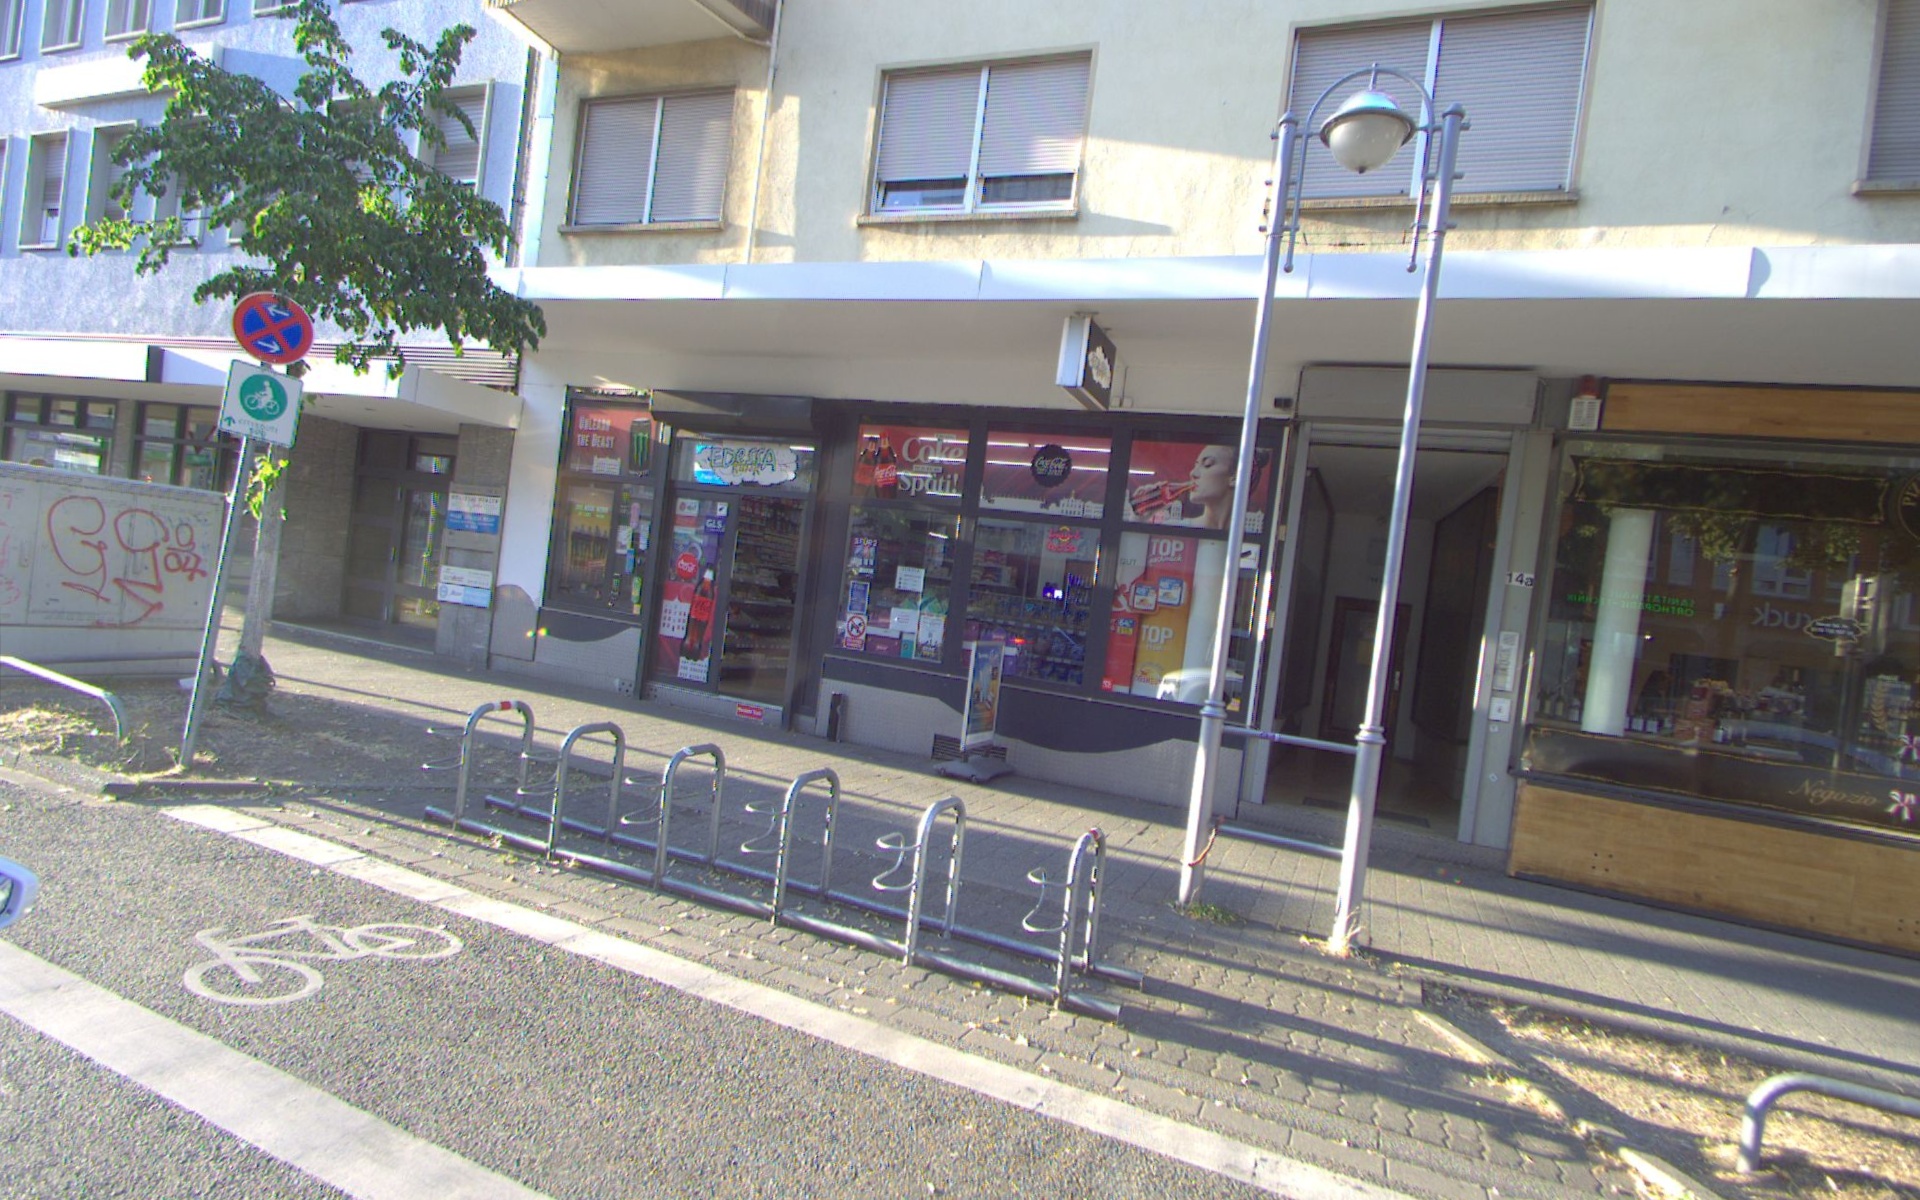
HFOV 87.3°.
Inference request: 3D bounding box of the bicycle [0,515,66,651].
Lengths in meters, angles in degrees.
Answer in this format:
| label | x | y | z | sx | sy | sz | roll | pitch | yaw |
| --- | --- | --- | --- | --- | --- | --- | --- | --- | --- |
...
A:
| label | x | y | z | sx | sy | sz | roll | pitch | yaw |
| --- | --- | --- | --- | --- | --- | --- | --- | --- | --- |
| bicycle | -9.156 | -0.203 | 9.112 | 0.376 | 1.234 | 1.446 | 7 | -1 | 25 |
